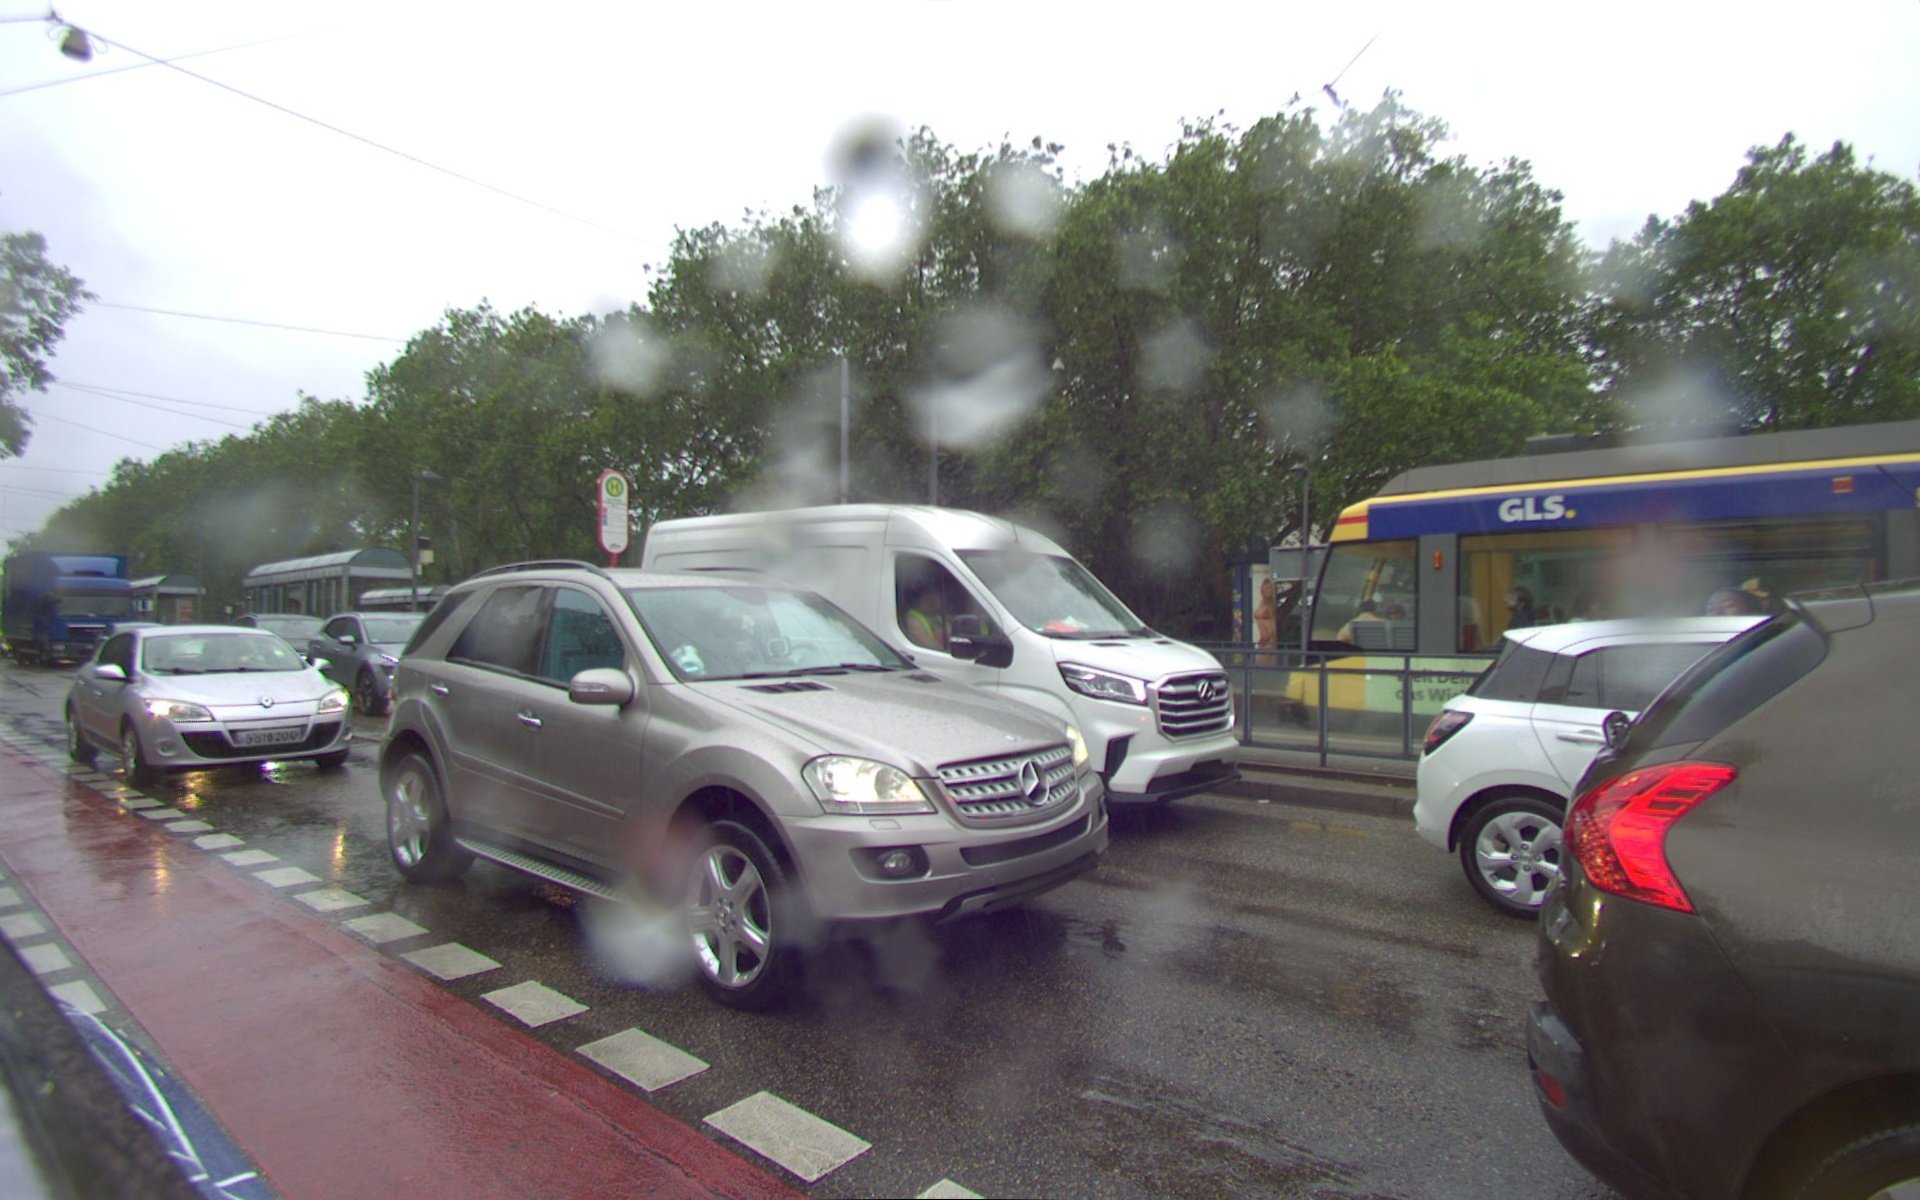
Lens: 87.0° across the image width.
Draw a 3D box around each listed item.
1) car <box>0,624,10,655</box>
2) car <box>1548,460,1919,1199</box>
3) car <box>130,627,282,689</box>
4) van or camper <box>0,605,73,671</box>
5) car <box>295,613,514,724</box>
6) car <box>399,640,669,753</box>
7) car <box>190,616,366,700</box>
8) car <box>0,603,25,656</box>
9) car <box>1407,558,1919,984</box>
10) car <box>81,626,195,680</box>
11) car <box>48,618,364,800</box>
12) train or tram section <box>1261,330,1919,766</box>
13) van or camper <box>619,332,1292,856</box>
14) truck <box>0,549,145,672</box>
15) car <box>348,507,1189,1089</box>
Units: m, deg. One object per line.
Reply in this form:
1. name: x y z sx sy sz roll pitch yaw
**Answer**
1. car: -52.356 2.102 54.061 3.998 1.589 1.973 -1 -1 41
2. car: 3.283 0.598 1.230 4.170 1.681 1.815 -1 -1 41
3. car: -18.832 1.390 25.198 4.602 1.405 1.973 -1 -3 40
4. van or camper: -40.044 1.577 43.541 6.427 2.590 1.973 -1 0 41
5. car: -9.452 1.063 17.063 4.454 1.636 1.894 -1 -2 43
6. car: -5.452 1.101 12.706 4.084 1.126 1.448 -1 -1 40
7. car: -14.651 1.171 21.673 4.316 1.633 1.974 -1 -2 40
8. car: -46.897 1.444 49.003 5.727 2.445 1.972 -1 0 43
9. car: 4.253 0.673 4.513 3.834 1.641 1.628 -1 -2 41
10. car: -24.554 1.532 30.176 4.074 1.498 1.871 -1 -2 40
11. car: -7.844 0.950 10.399 3.998 1.489 1.750 -1 -1 40
12. train or tram section: 9.833 -0.463 8.742 13.652 3.539 3.476 -1 0 41
13. van or camper: -0.379 0.024 8.801 5.846 3.166 2.136 -1 -2 40
14. truck: -32.210 0.460 36.384 9.803 3.919 2.513 -1 -3 40
15. car: -1.291 0.639 5.326 4.459 1.783 2.004 -1 -1 40
